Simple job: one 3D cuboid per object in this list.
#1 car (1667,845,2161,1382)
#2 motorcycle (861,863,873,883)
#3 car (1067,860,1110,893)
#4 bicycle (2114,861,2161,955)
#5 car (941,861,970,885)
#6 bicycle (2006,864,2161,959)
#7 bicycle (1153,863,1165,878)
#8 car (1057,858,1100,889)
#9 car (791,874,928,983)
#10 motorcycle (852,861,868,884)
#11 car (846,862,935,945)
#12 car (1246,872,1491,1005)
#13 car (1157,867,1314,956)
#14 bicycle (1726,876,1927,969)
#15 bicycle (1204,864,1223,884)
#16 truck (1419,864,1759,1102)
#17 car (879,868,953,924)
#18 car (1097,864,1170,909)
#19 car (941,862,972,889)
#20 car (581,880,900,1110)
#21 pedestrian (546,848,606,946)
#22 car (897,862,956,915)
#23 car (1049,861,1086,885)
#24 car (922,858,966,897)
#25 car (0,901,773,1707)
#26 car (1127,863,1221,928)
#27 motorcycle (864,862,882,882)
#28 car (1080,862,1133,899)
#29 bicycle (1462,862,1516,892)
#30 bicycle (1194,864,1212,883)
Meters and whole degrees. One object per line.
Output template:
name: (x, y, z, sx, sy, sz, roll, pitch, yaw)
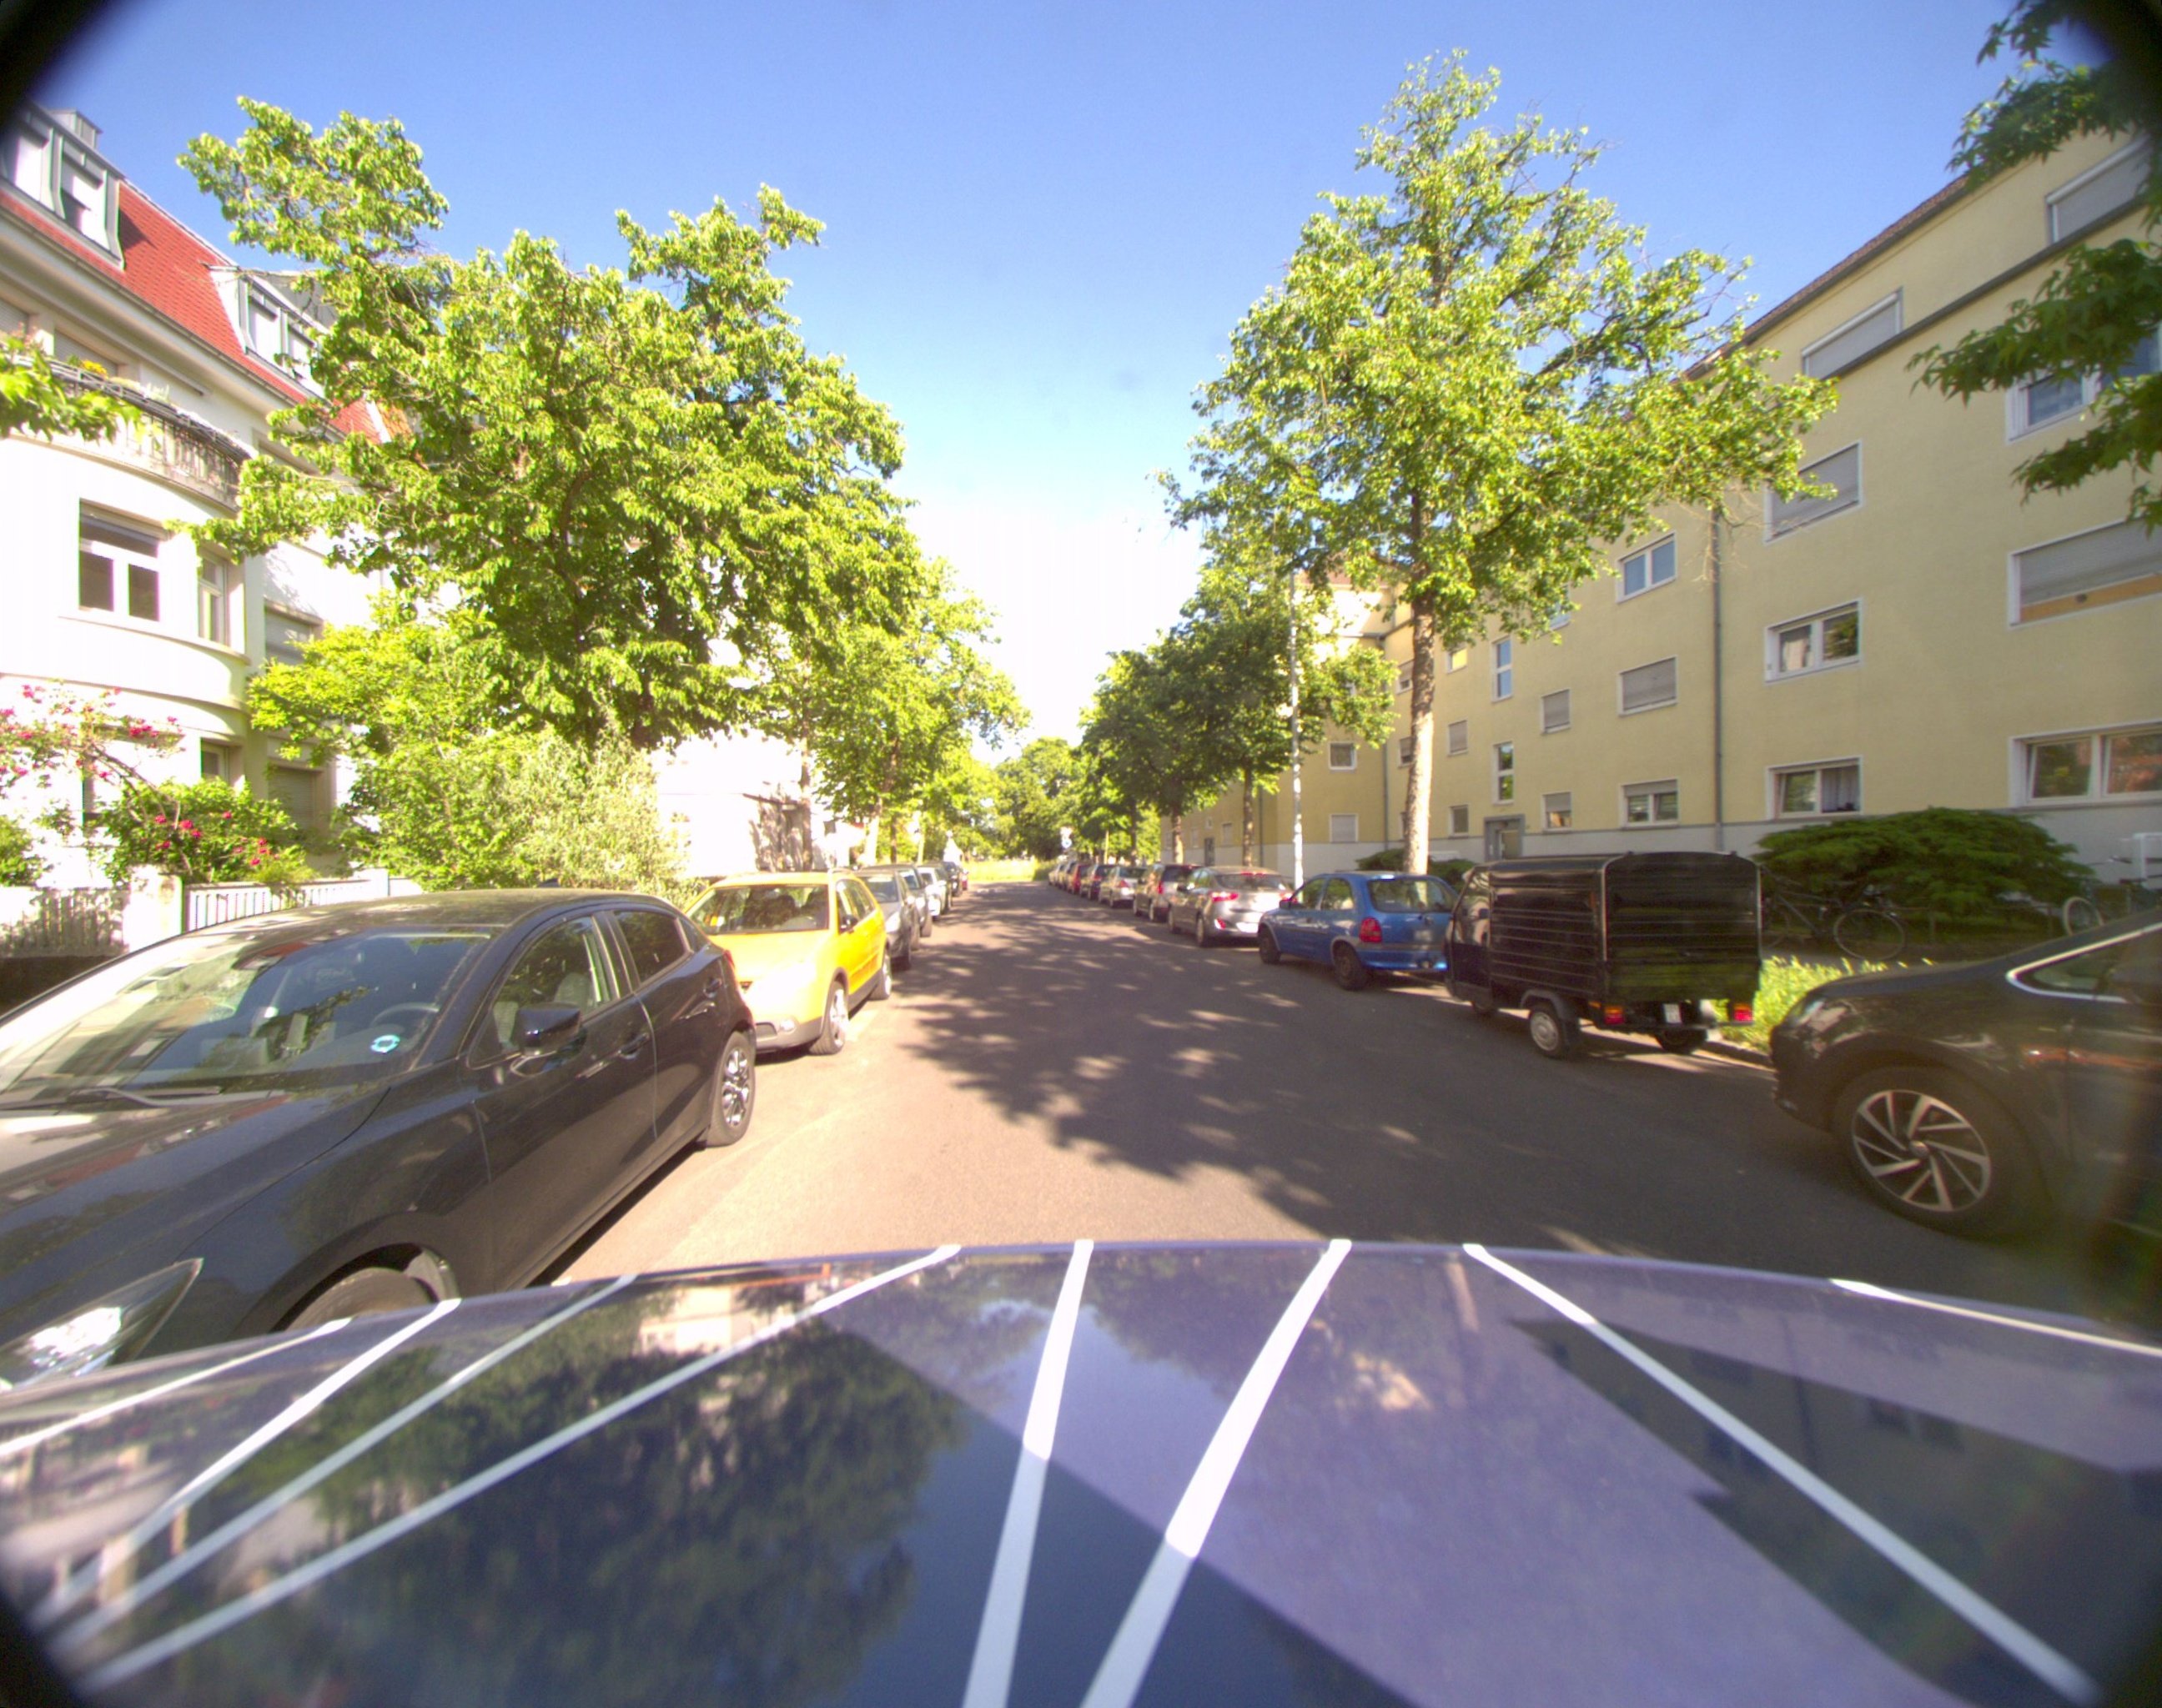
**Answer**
car: (4.394, 0.830, 1.737, 1.855, 1.670, 4.973, 2, -1, -7)
motorcycle: (-13.773, 1.199, 48.971, 0.659, 1.272, 1.798, 1, 0, -13)
car: (0.328, 1.051, 36.913, 1.670, 1.477, 3.254, -1, 0, -6)
bicycle: (14.431, 0.653, 9.744, 1.844, 1.139, 0.486, -3, 2, -4)
car: (-7.819, 1.184, 47.639, 1.658, 1.394, 4.133, -1, 0, -7)
bicycle: (12.970, 0.713, 9.696, 1.844, 1.075, 0.486, -3, 2, -4)
bicycle: (5.194, 1.085, 50.810, 0.454, 0.995, 1.544, -1, 0, -6)
car: (-0.212, 1.031, 41.462, 1.697, 1.555, 4.732, -1, 0, -8)
car: (-3.435, 1.070, 12.371, 1.654, 1.420, 3.610, 0, 0, -8)
motorcycle: (-13.542, 1.143, 46.622, 0.541, 1.353, 2.088, -1, 0, -7)
car: (-4.252, 1.020, 17.428, 1.654, 1.646, 3.844, -1, 0, -10)
car: (3.639, 0.983, 10.359, 1.525, 1.387, 3.724, -1, 0, -8)
car: (2.849, 1.014, 15.142, 1.797, 1.436, 4.686, 1, 0, -5)
bicycle: (9.851, 0.856, 10.127, 0.487, 1.075, 1.841, -4, 2, -31)
bicycle: (6.781, 1.019, 39.011, 0.537, 1.021, 1.747, -1, 0, -5)
truck: (3.985, 0.883, 6.349, 1.087, 1.568, 2.431, -1, 0, -4)
car: (-4.682, 1.136, 22.051, 1.635, 1.416, 4.365, 0, 0, -6)
car: (1.732, 1.070, 26.636, 1.751, 1.360, 4.671, 0, 0, -6)
car: (-7.068, 1.183, 42.859, 1.617, 1.401, 4.347, -1, 0, -10)
car: (-2.842, 1.037, 7.346, 1.642, 1.446, 4.097, -1, 0, -7)
pedestrian: (-9.311, 0.773, 14.030, 0.624, 1.764, 0.799, 0, 0, -7)
car: (-5.315, 1.125, 26.601, 1.689, 1.579, 4.532, -3, 0, -8)
car: (-0.905, 1.142, 47.842, 1.766, 1.433, 3.991, -1, 0, -10)
car: (-6.403, 1.044, 35.792, 1.786, 1.688, 4.295, 0, 0, -7)
car: (-2.622, 1.018, 2.779, 1.706, 1.440, 4.080, 0, 0, -6)
car: (2.403, 1.048, 20.740, 1.625, 1.506, 4.266, 1, 0, -6)
motorcycle: (-13.904, 1.190, 50.838, 0.974, 1.321, 1.851, -1, 0, -12)
car: (1.014, 1.057, 32.063, 1.670, 1.450, 3.930, -1, 0, -6)
bicycle: (13.099, 0.730, 24.406, 1.638, 0.925, 0.480, 0, 0, -15)
bicycle: (6.554, 1.040, 40.929, 0.542, 1.021, 1.747, -1, 0, -5)
